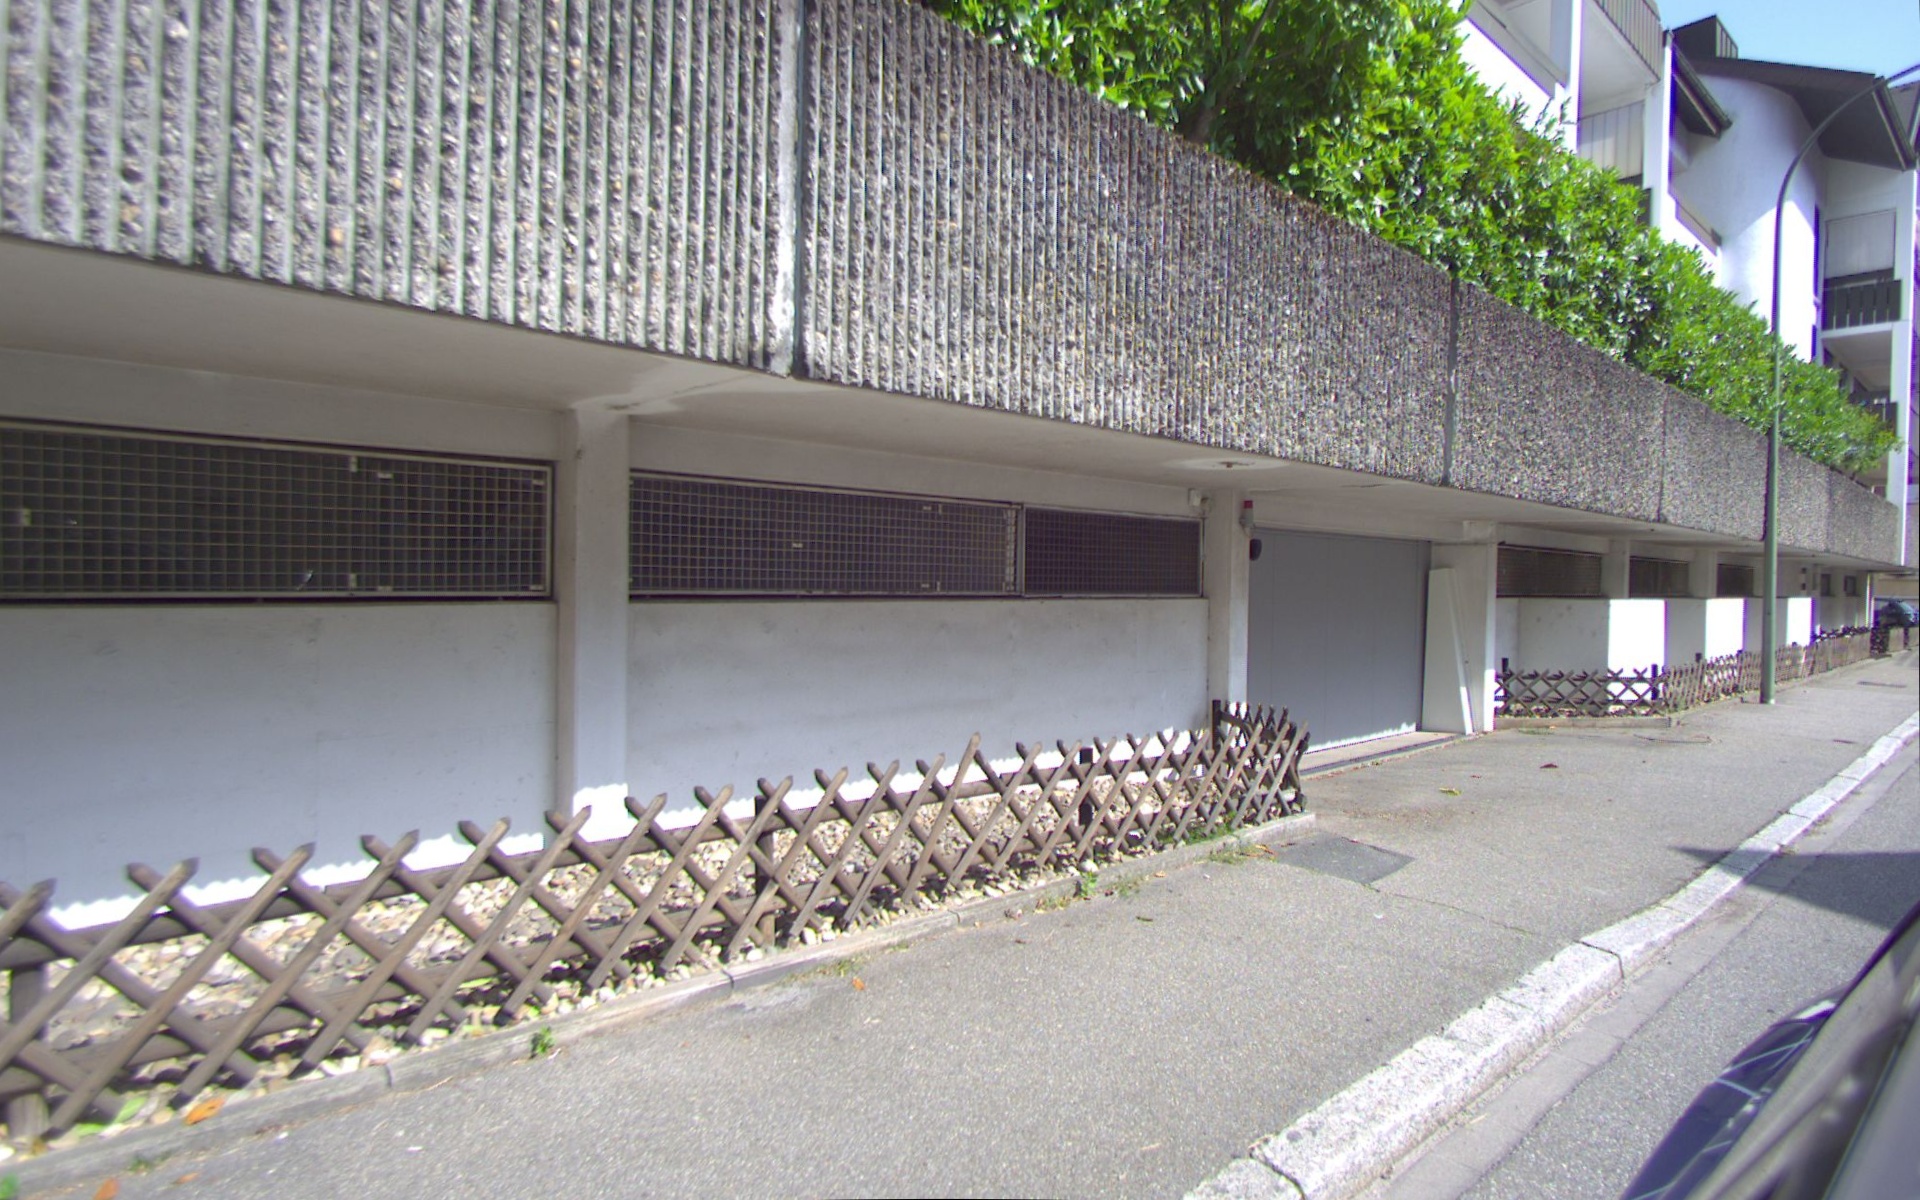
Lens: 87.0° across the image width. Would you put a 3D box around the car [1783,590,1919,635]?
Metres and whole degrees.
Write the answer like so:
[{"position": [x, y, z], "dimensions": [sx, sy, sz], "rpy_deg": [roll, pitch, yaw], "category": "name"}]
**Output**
[{"position": [31.177, 0.418, 35.190], "dimensions": [1.672, 1.498, 3.830], "rpy_deg": [1, -1, -43], "category": "car"}]
